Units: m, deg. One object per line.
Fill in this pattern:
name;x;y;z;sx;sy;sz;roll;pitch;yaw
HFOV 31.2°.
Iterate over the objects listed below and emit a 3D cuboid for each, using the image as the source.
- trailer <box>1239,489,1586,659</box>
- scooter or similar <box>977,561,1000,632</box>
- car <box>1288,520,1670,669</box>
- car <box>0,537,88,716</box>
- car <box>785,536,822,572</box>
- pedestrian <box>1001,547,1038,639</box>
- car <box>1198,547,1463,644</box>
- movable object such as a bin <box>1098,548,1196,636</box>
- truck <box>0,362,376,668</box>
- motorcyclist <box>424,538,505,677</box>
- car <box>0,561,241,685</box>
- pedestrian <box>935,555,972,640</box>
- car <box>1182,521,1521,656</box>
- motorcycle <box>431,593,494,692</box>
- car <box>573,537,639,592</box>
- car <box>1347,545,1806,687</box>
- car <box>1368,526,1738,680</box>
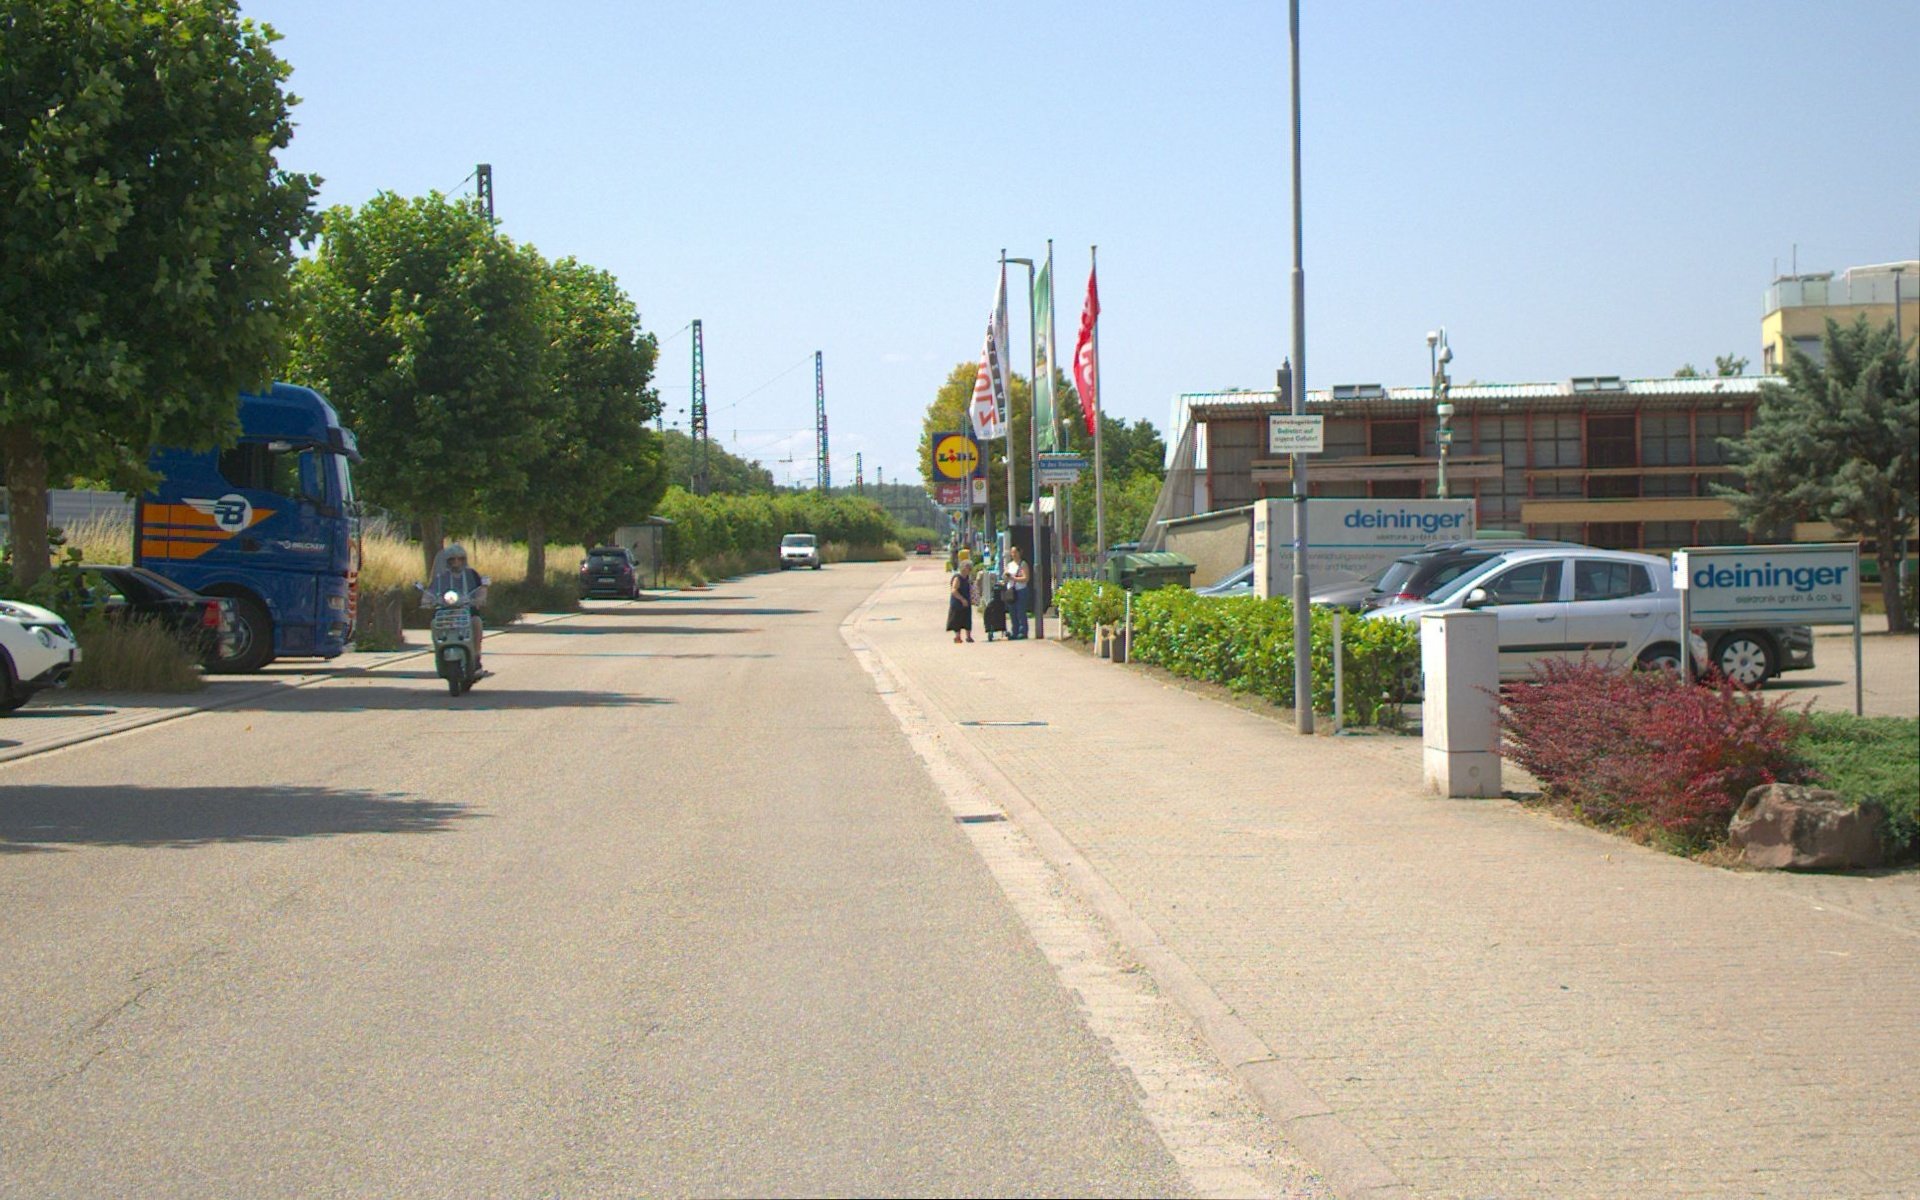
trailer;5.580;-0.336;42.739;3.986;2.007;2.000;-1;1;-2
scooter or similar;0.478;-0.054;58.213;0.334;1.194;0.398;-2;-1;-2
car;6.003;-0.052;40.004;4.033;1.569;1.714;-2;-1;-7
car;-10.305;0.252;32.031;3.969;1.612;1.851;-1;1;-5
car;-8.189;-2.396;180.313;1.838;1.852;4.484;0;1;-2
pedestrian;1.003;-0.117;58.068;0.535;1.534;0.511;-2;-1;-3
car;5.662;-0.082;52.906;3.845;1.450;1.817;0;1;-1
movable object such as a bin;3.157;-0.137;58.014;1.264;1.453;1.049;0;1;-39
truck;-11.109;-1.085;44.761;6.613;3.810;2.664;-1;1;-4
motorcyclist;-5.447;0.073;37.844;0.775;1.504;0.921;0;1;-2
car;-10.675;0.257;40.213;4.208;1.390;1.872;0;1;-4
pedestrian;-0.111;-0.041;58.142;0.565;1.400;0.584;-2;-1;-3
car;5.202;-0.140;46.010;4.212;1.628;1.801;-2;-1;-3
motorcycle;-5.447;0.452;37.716;0.463;1.047;1.955;0;0;-2
car;-10.632;-1.080;103.443;1.741;1.590;3.580;0;1;-2
car;6.507;0.150;36.543;4.473;1.435;1.815;0;1;-5
car;5.835;0.012;34.099;3.353;1.397;1.770;-1;1;1
